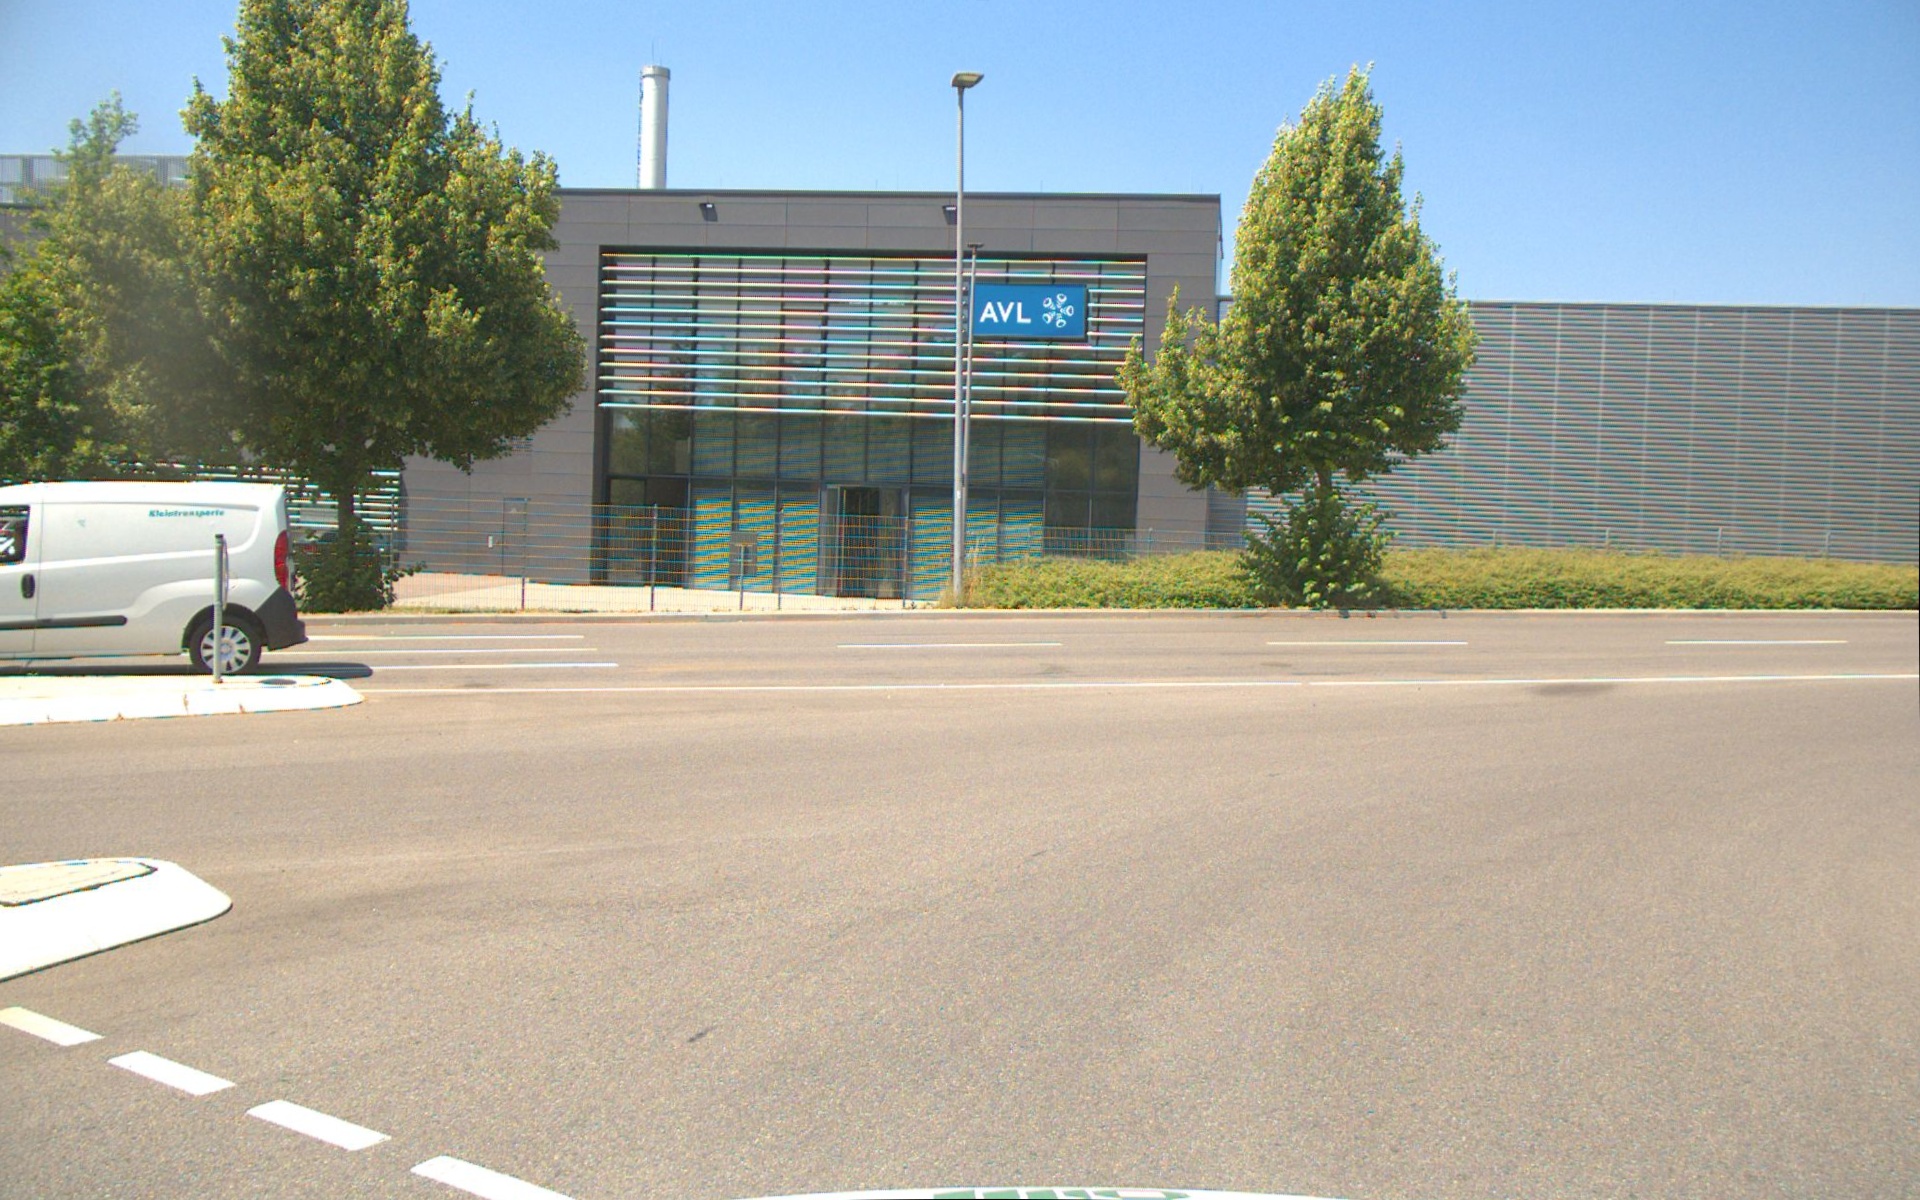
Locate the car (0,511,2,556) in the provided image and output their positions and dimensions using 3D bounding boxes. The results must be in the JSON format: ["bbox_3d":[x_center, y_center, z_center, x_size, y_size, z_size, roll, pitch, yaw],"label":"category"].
[{"bbox_3d":[-33.309,-2.165,53.596,1.951,1.512,4.003,-1,1,5],"label":"car"}]

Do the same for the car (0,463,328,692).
[{"bbox_3d":[-8.691,-0.263,15.877,4.792,1.975,1.987,1,6,-25],"label":"car"}]

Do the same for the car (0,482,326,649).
[{"bbox_3d":[-9.623,-0.416,19.632,3.802,1.735,1.987,1,6,-25],"label":"car"}]

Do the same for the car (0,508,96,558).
[{"bbox_3d":[-30.212,-2.166,53.732,1.873,1.543,4.004,-1,2,5],"label":"car"}]

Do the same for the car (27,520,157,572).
[{"bbox_3d":[-27.830,-1.728,53.201,1.776,1.555,4.003,-1,1,5],"label":"car"}]

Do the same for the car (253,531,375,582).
[{"bbox_3d":[-20.289,-1.378,52.132,1.951,1.512,4.003,-1,1,5],"label":"car"}]

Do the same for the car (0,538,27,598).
[{"bbox_3d":[-25.489,-0.768,41.212,1.951,1.512,4.003,-1,1,5],"label":"car"}]
